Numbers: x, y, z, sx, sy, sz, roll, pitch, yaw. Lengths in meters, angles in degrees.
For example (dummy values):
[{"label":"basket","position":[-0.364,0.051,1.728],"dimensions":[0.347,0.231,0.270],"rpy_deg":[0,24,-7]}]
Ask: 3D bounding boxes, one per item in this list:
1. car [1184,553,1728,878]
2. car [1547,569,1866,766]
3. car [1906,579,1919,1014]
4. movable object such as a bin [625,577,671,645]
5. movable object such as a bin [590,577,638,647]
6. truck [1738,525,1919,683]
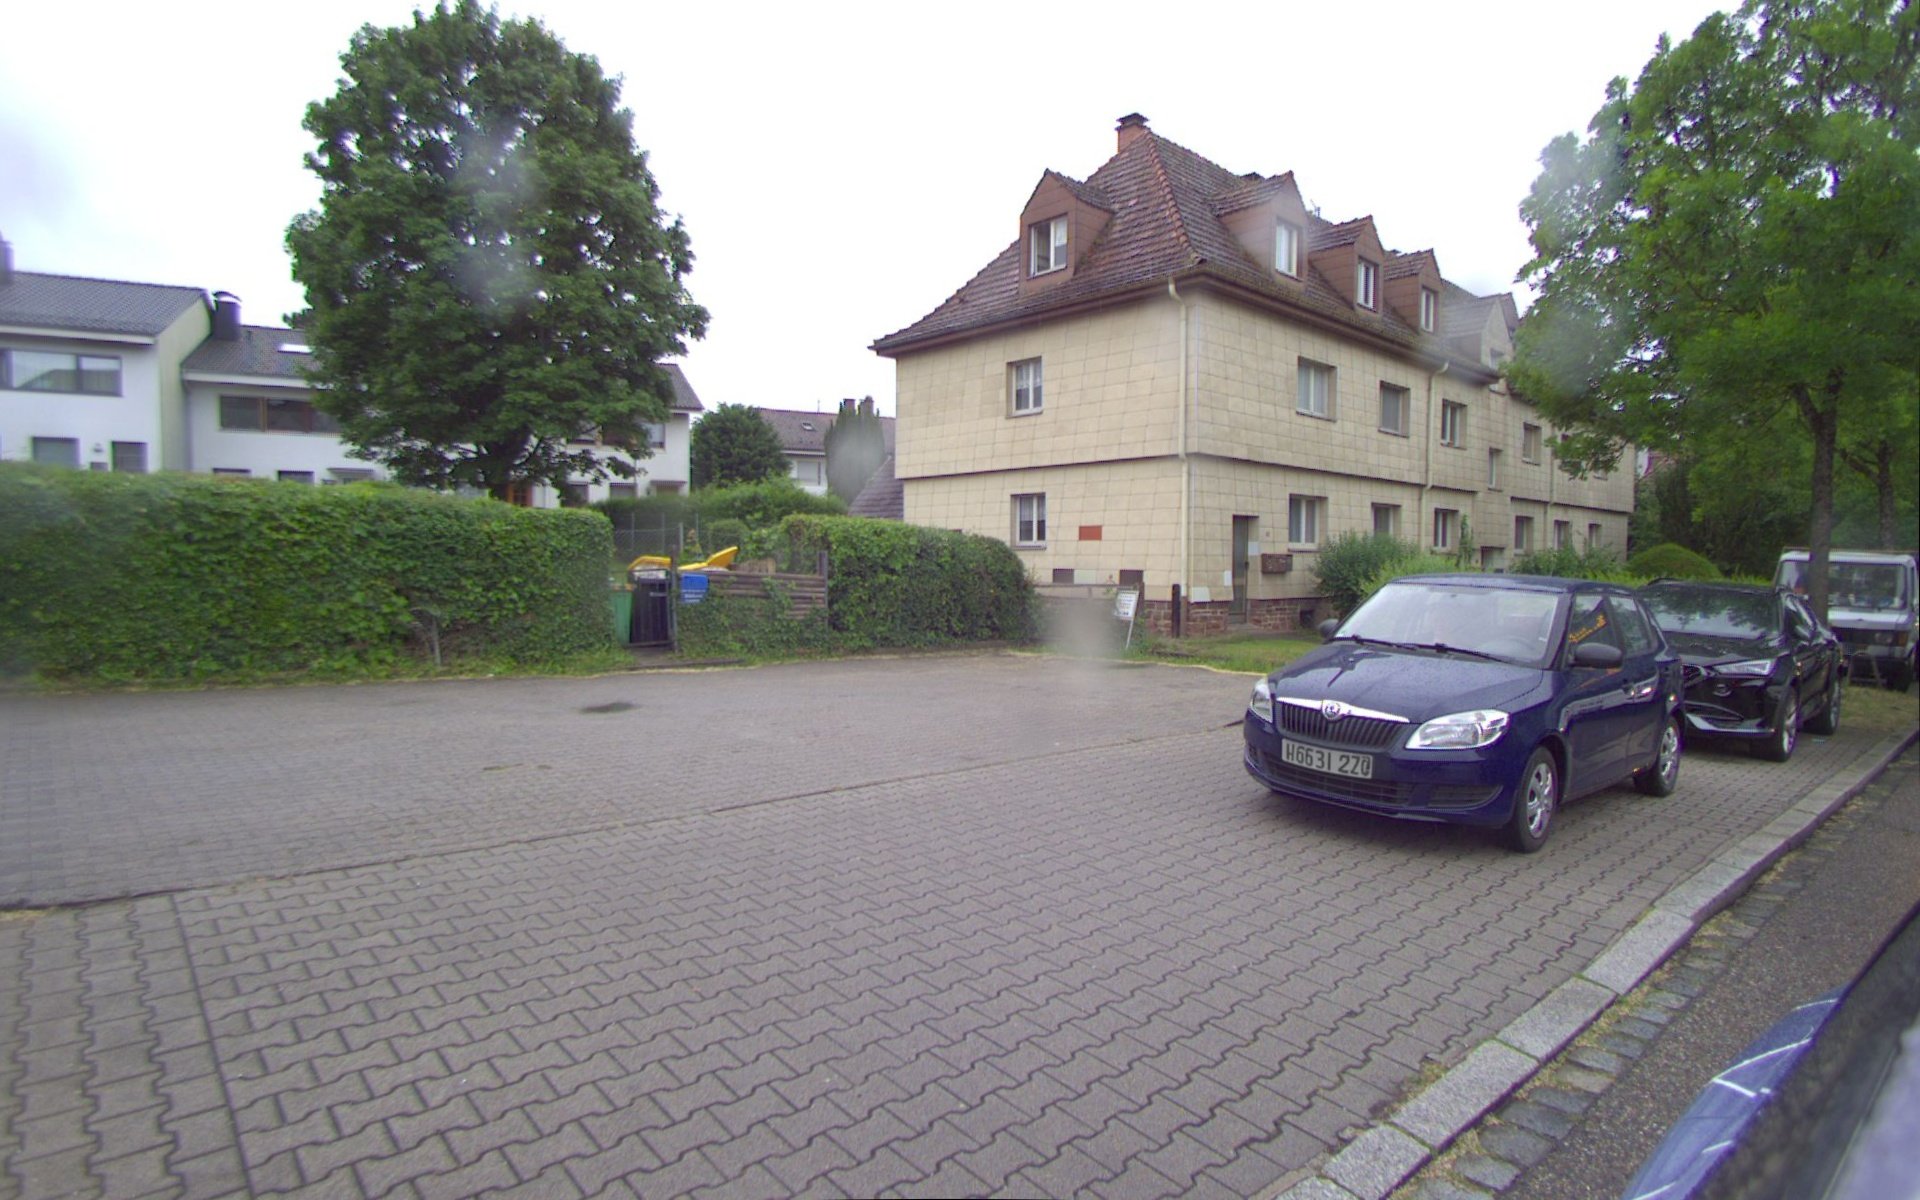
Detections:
[{"label":"car","position":[3.379,0.480,6.560],"dimensions":[3.930,1.441,1.719],"rpy_deg":[-1,4,-41]},{"label":"car","position":[7.411,0.487,9.905],"dimensions":[3.932,1.481,1.719],"rpy_deg":[-1,4,-42]},{"label":"car","position":[5.609,0.688,4.296],"dimensions":[4.240,1.548,1.881],"rpy_deg":[0,-1,-41]},{"label":"movable object such as a bin","position":[-4.464,0.149,14.483],"dimensions":[0.441,0.954,0.539],"rpy_deg":[0,0,-45]},{"label":"movable object such as a bin","position":[-4.807,0.159,14.073],"dimensions":[0.441,0.954,0.539],"rpy_deg":[0,0,-45]},{"label":"truck","position":[15.002,0.025,16.881],"dimensions":[5.653,2.224,1.998],"rpy_deg":[0,2,-40]}]
